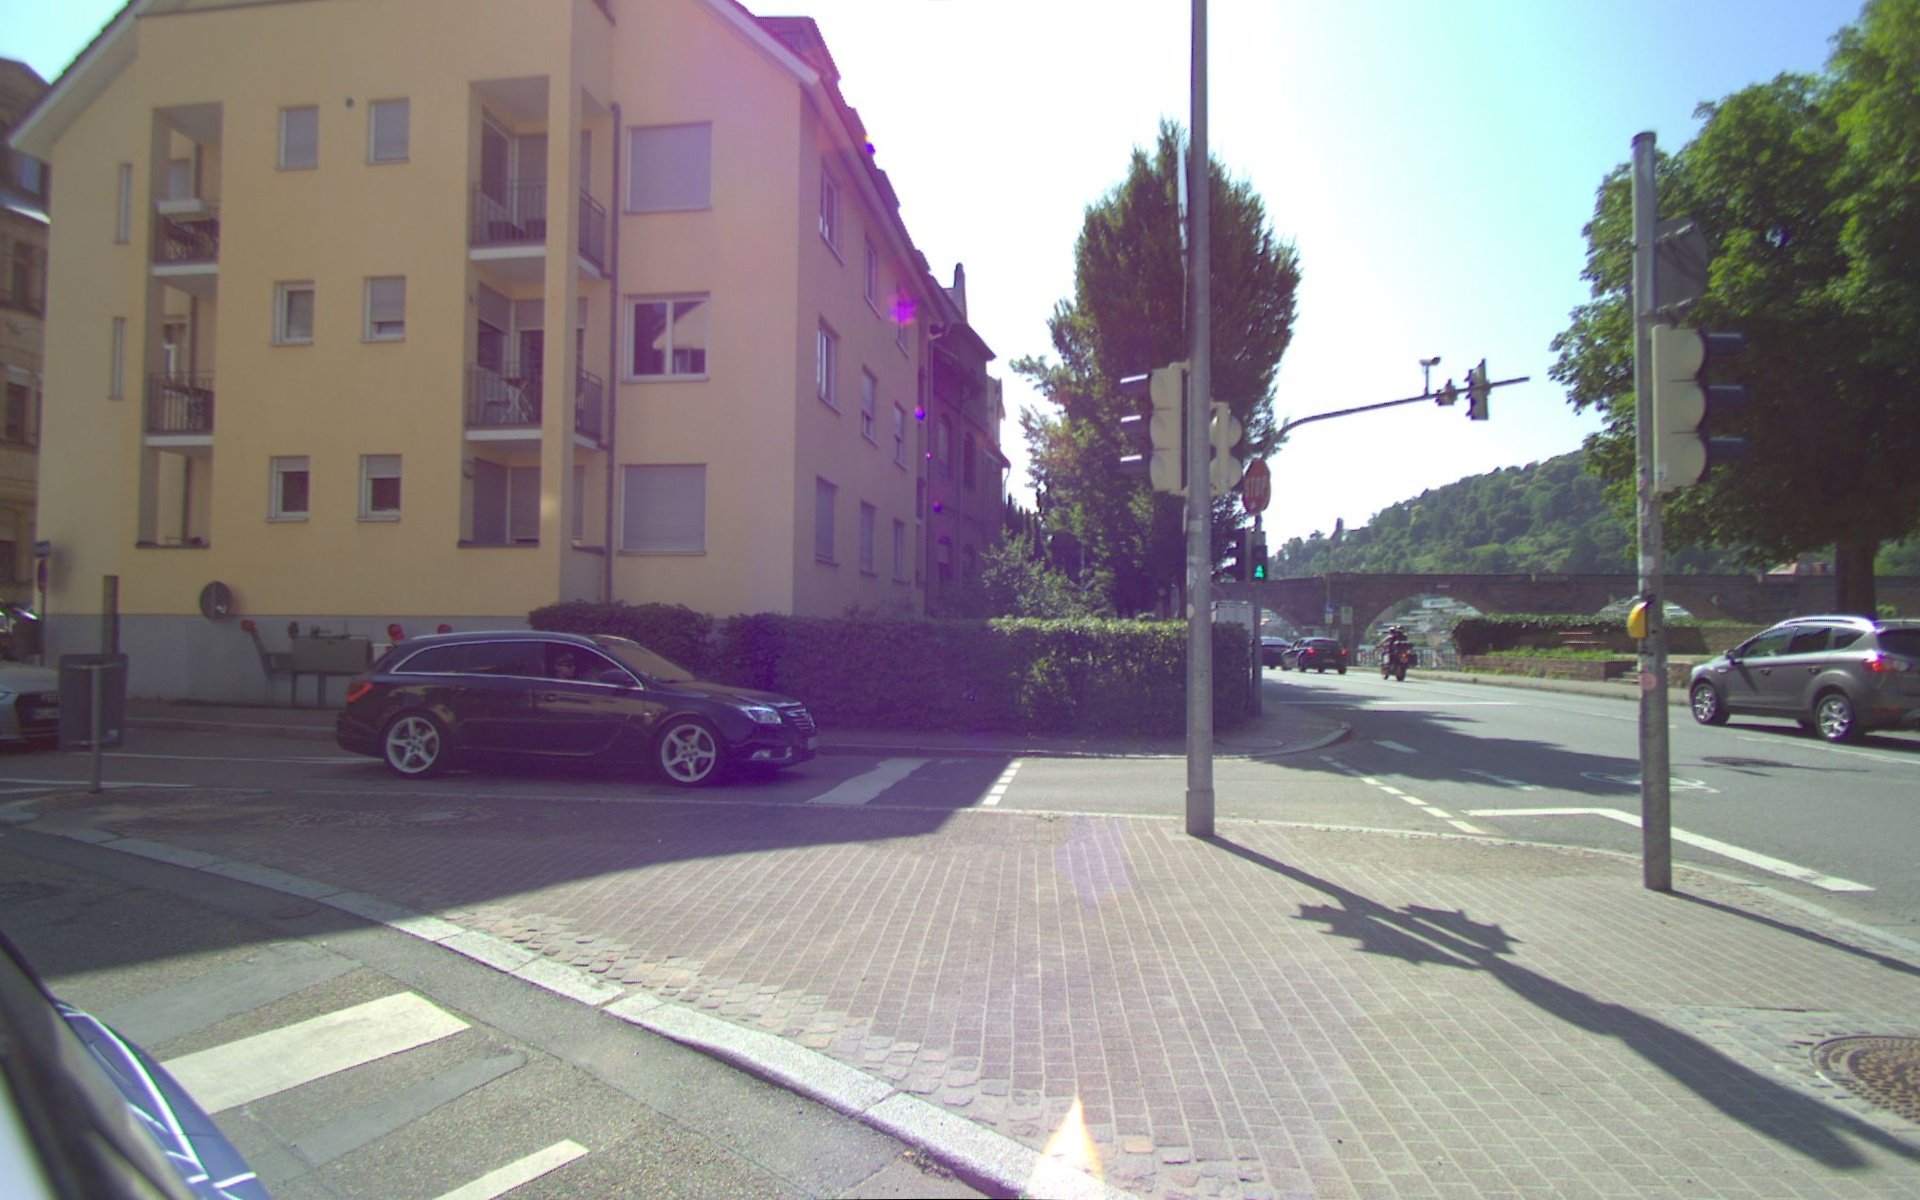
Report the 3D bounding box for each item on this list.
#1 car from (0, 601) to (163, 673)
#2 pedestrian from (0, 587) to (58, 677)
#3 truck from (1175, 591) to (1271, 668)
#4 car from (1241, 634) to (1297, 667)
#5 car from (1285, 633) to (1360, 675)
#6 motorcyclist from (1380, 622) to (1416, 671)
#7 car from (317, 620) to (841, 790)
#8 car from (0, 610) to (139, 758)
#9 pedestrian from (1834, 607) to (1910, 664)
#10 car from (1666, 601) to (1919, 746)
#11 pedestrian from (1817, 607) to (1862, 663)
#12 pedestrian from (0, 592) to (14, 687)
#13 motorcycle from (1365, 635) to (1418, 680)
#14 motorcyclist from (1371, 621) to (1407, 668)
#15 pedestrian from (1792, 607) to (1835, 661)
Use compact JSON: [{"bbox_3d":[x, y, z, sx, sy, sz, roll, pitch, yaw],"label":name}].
[{"bbox_3d":[-21.538,0.841,24.025,1.831,1.556,3.991,0,-1,7],"label":"car"},{"bbox_3d":[-17.377,0.588,18.739,0.682,1.630,0.755,0,-1,7],"label":"pedestrian"},{"bbox_3d":[15.876,1.842,62.270,3.172,4.246,12.753,0,-2,3],"label":"truck"},{"bbox_3d":[14.843,2.413,48.824,1.901,1.519,3.991,0,-2,7],"label":"car"},{"bbox_3d":[14.619,2.160,41.003,1.976,1.608,3.991,0,-2,7],"label":"car"},{"bbox_3d":[13.923,1.470,32.174,0.808,1.504,0.773,1,-2,3],"label":"motorcyclist"},{"bbox_3d":[-3.679,1.011,10.258,4.664,1.473,1.717,1,-4,5],"label":"car"},{"bbox_3d":[-11.875,0.847,11.092,4.326,1.504,1.875,1,-2,4],"label":"car"},{"bbox_3d":[20.964,0.821,23.275,1.210,1.280,0.467,0,-2,9],"label":"pedestrian"},{"bbox_3d":[12.592,0.988,14.568,1.820,1.766,4.406,3,-1,2],"label":"car"},{"bbox_3d":[20.731,0.823,23.866,0.624,1.280,0.467,0,-2,9],"label":"pedestrian"},{"bbox_3d":[-16.731,0.678,17.274,0.487,1.630,0.656,1,-1,6],"label":"pedestrian"},{"bbox_3d":[13.953,1.832,32.799,0.753,1.387,2.469,1,-2,2],"label":"motorcycle"},{"bbox_3d":[13.948,1.436,32.903,0.808,1.506,0.874,0,-1,3],"label":"motorcyclist"},{"bbox_3d":[20.854,0.828,24.742,0.624,1.280,0.467,0,-2,9],"label":"pedestrian"}]
